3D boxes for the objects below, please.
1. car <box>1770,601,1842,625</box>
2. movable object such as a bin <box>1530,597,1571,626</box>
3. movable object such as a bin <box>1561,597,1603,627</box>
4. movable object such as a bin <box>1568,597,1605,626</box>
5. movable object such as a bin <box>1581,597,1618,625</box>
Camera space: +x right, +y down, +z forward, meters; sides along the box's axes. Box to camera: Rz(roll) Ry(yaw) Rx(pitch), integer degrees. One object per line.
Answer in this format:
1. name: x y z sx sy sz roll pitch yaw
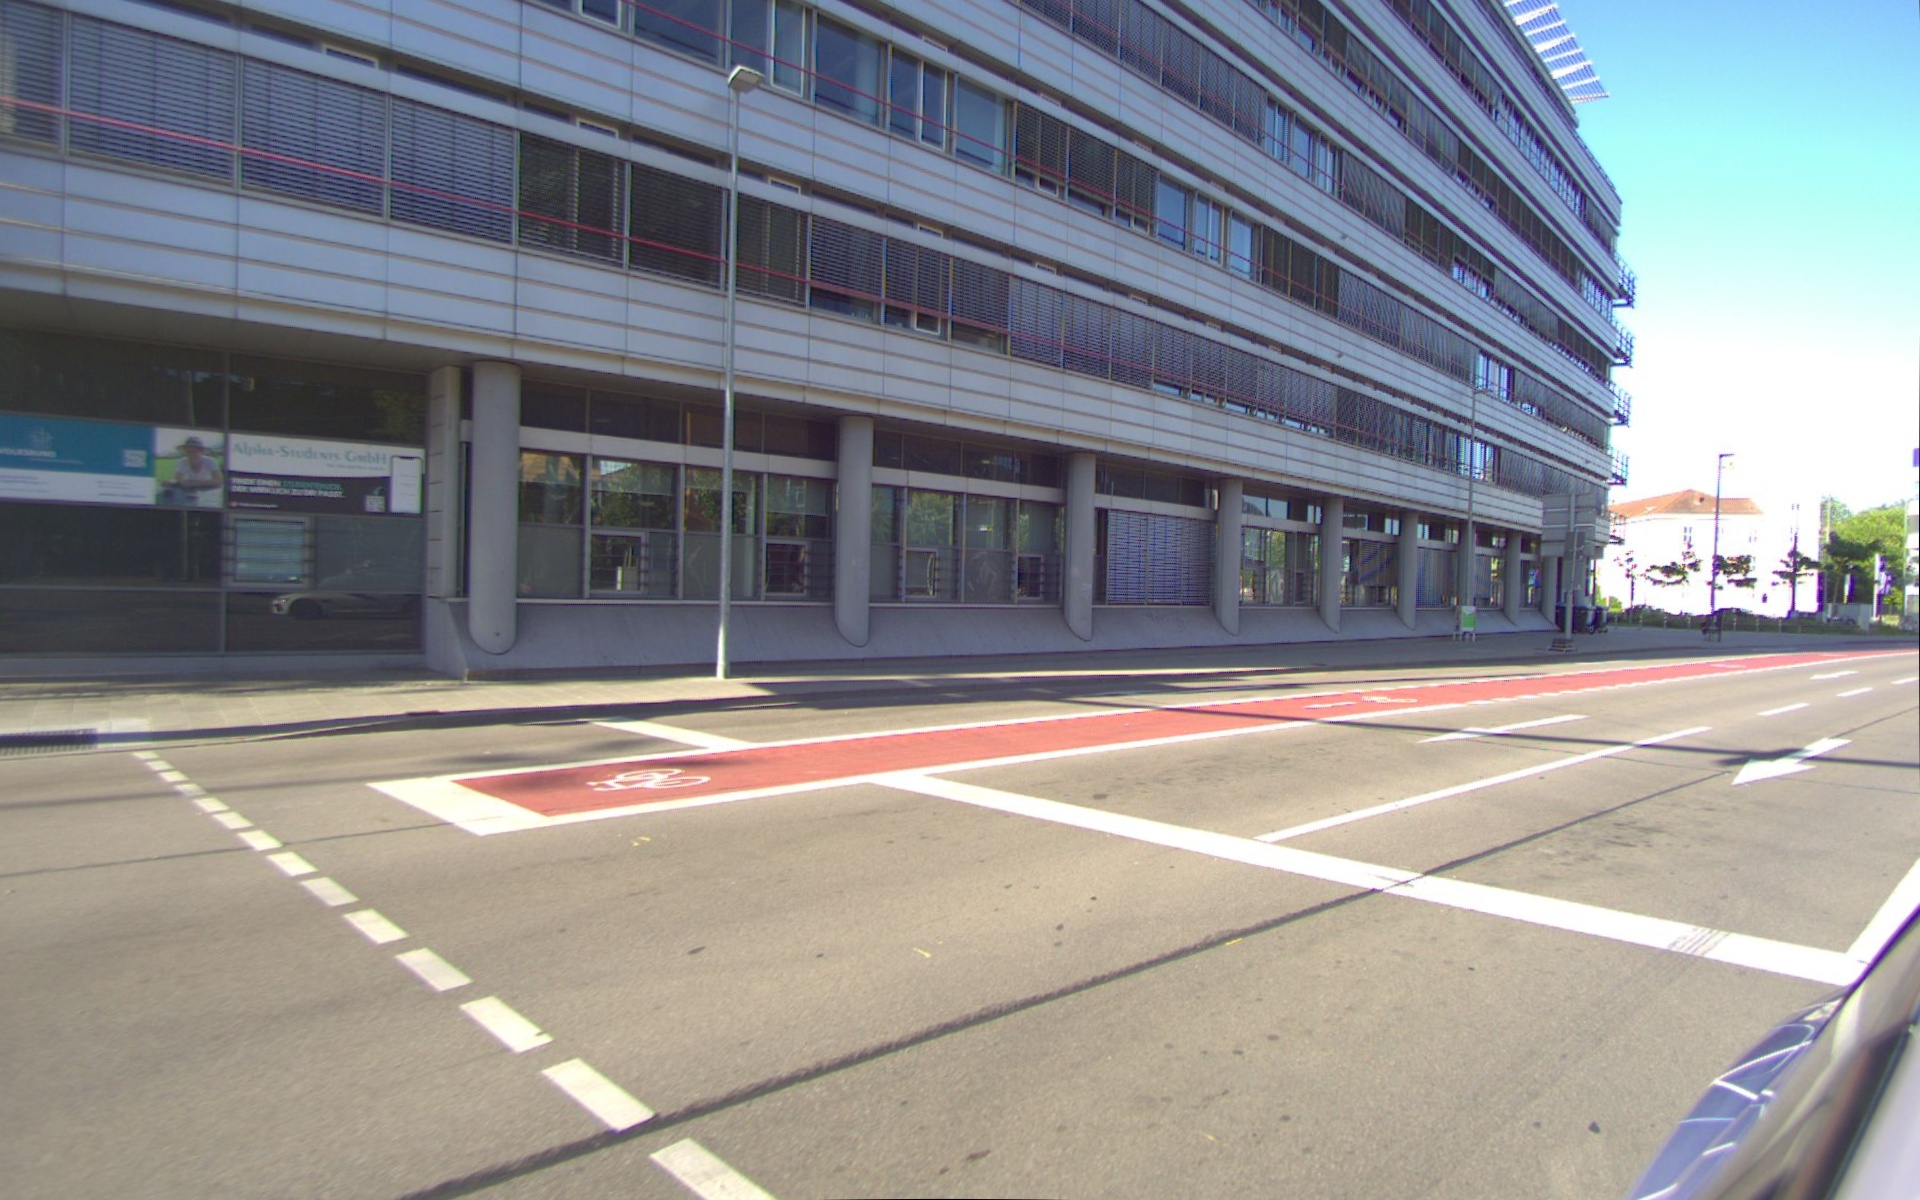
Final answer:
1. car: 59.637 0.911 71.428 1.706 1.551 3.805 1 1 -4
2. movable object such as a bin: 27.952 0.534 47.922 1.153 1.317 1.327 1 1 -40
3. movable object such as a bin: 28.790 0.563 46.845 1.153 1.317 1.327 1 1 -40
4. movable object such as a bin: 30.656 0.555 49.507 1.305 1.317 1.173 1 1 -40
5. movable object such as a bin: 31.757 0.536 50.248 1.305 1.317 1.173 1 1 -40
